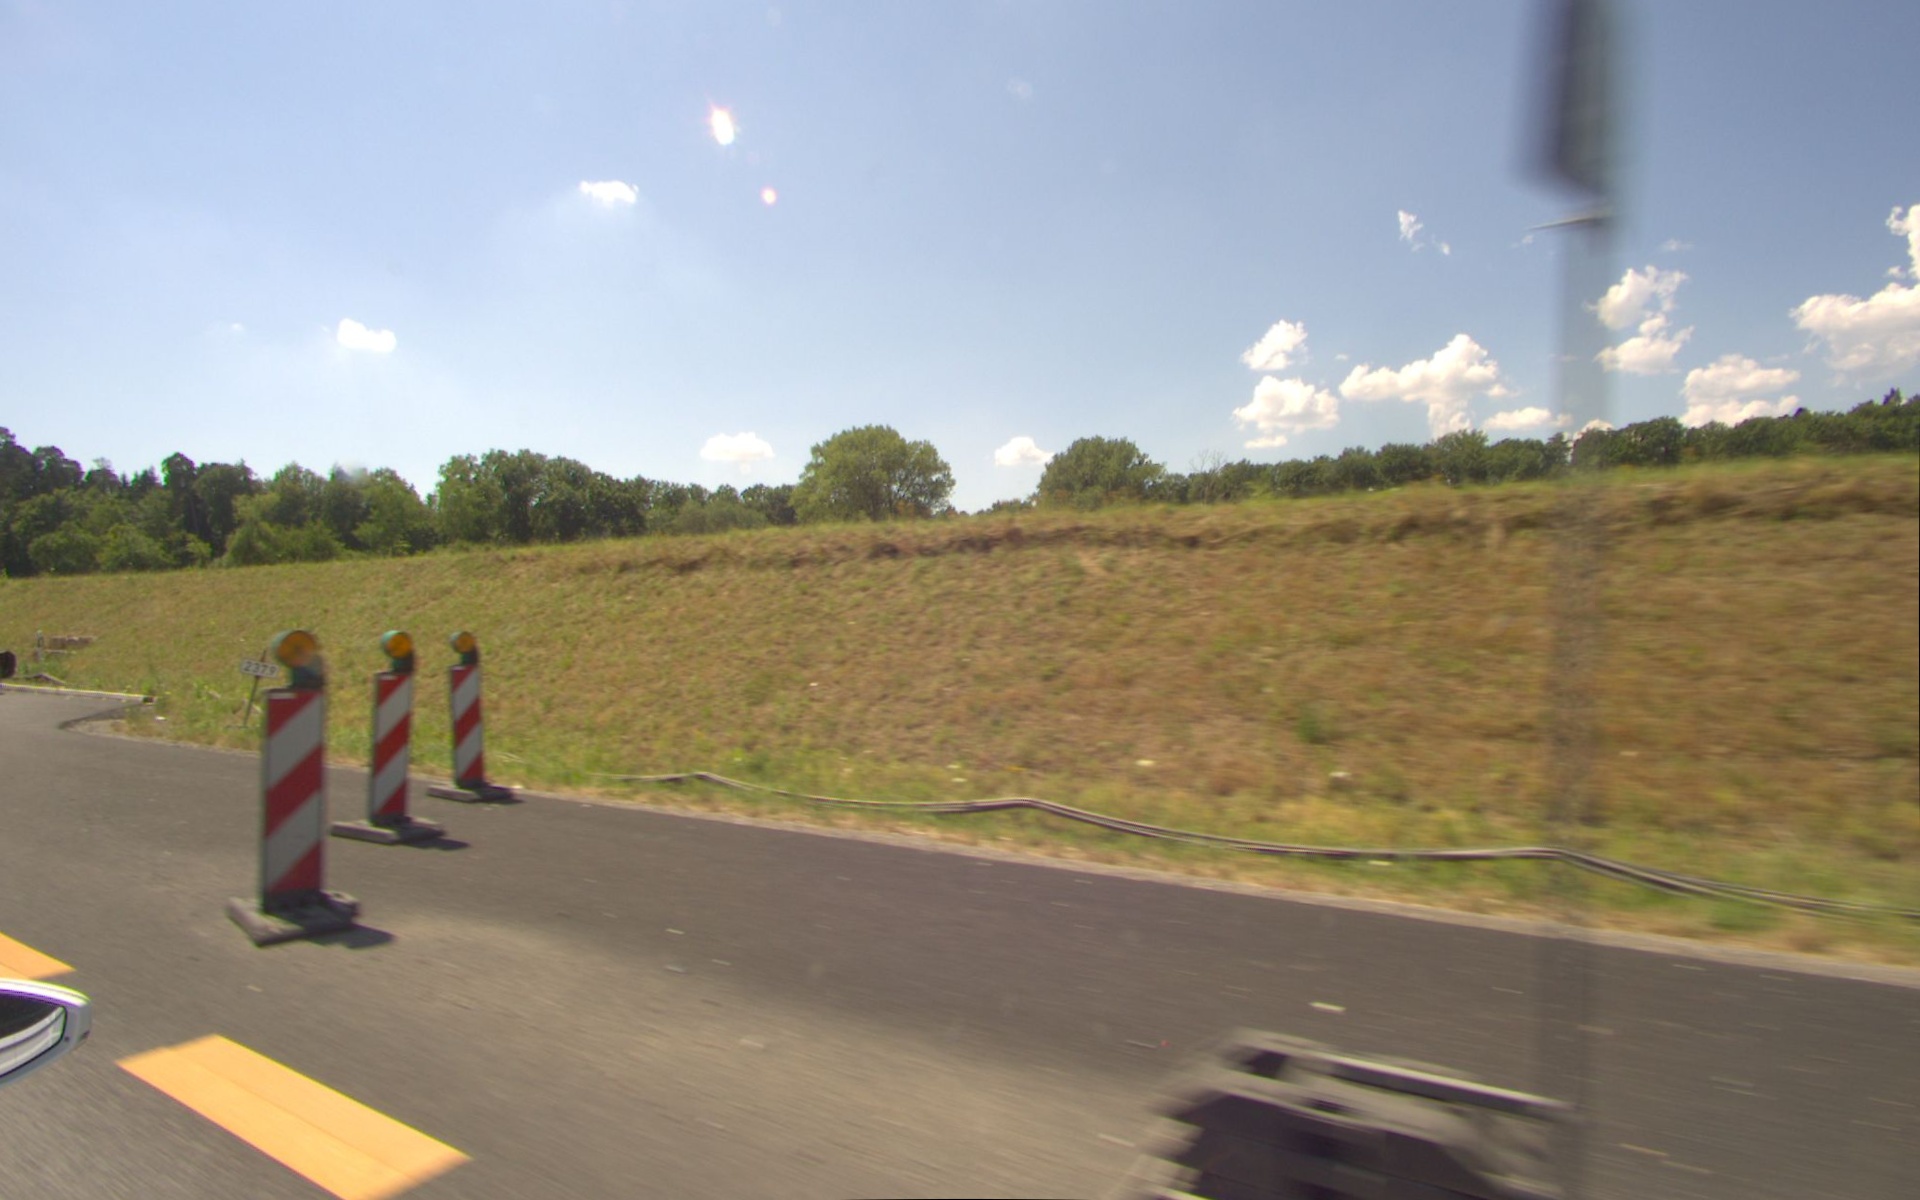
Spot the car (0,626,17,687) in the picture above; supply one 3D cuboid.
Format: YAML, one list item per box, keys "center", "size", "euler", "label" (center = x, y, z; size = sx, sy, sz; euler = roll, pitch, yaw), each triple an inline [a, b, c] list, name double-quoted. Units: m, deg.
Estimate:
- center: [-25.263, 1.394, 24.857]
  size: [4.480, 1.446, 1.650]
  euler: [0, 1, 33]
  label: "car"
